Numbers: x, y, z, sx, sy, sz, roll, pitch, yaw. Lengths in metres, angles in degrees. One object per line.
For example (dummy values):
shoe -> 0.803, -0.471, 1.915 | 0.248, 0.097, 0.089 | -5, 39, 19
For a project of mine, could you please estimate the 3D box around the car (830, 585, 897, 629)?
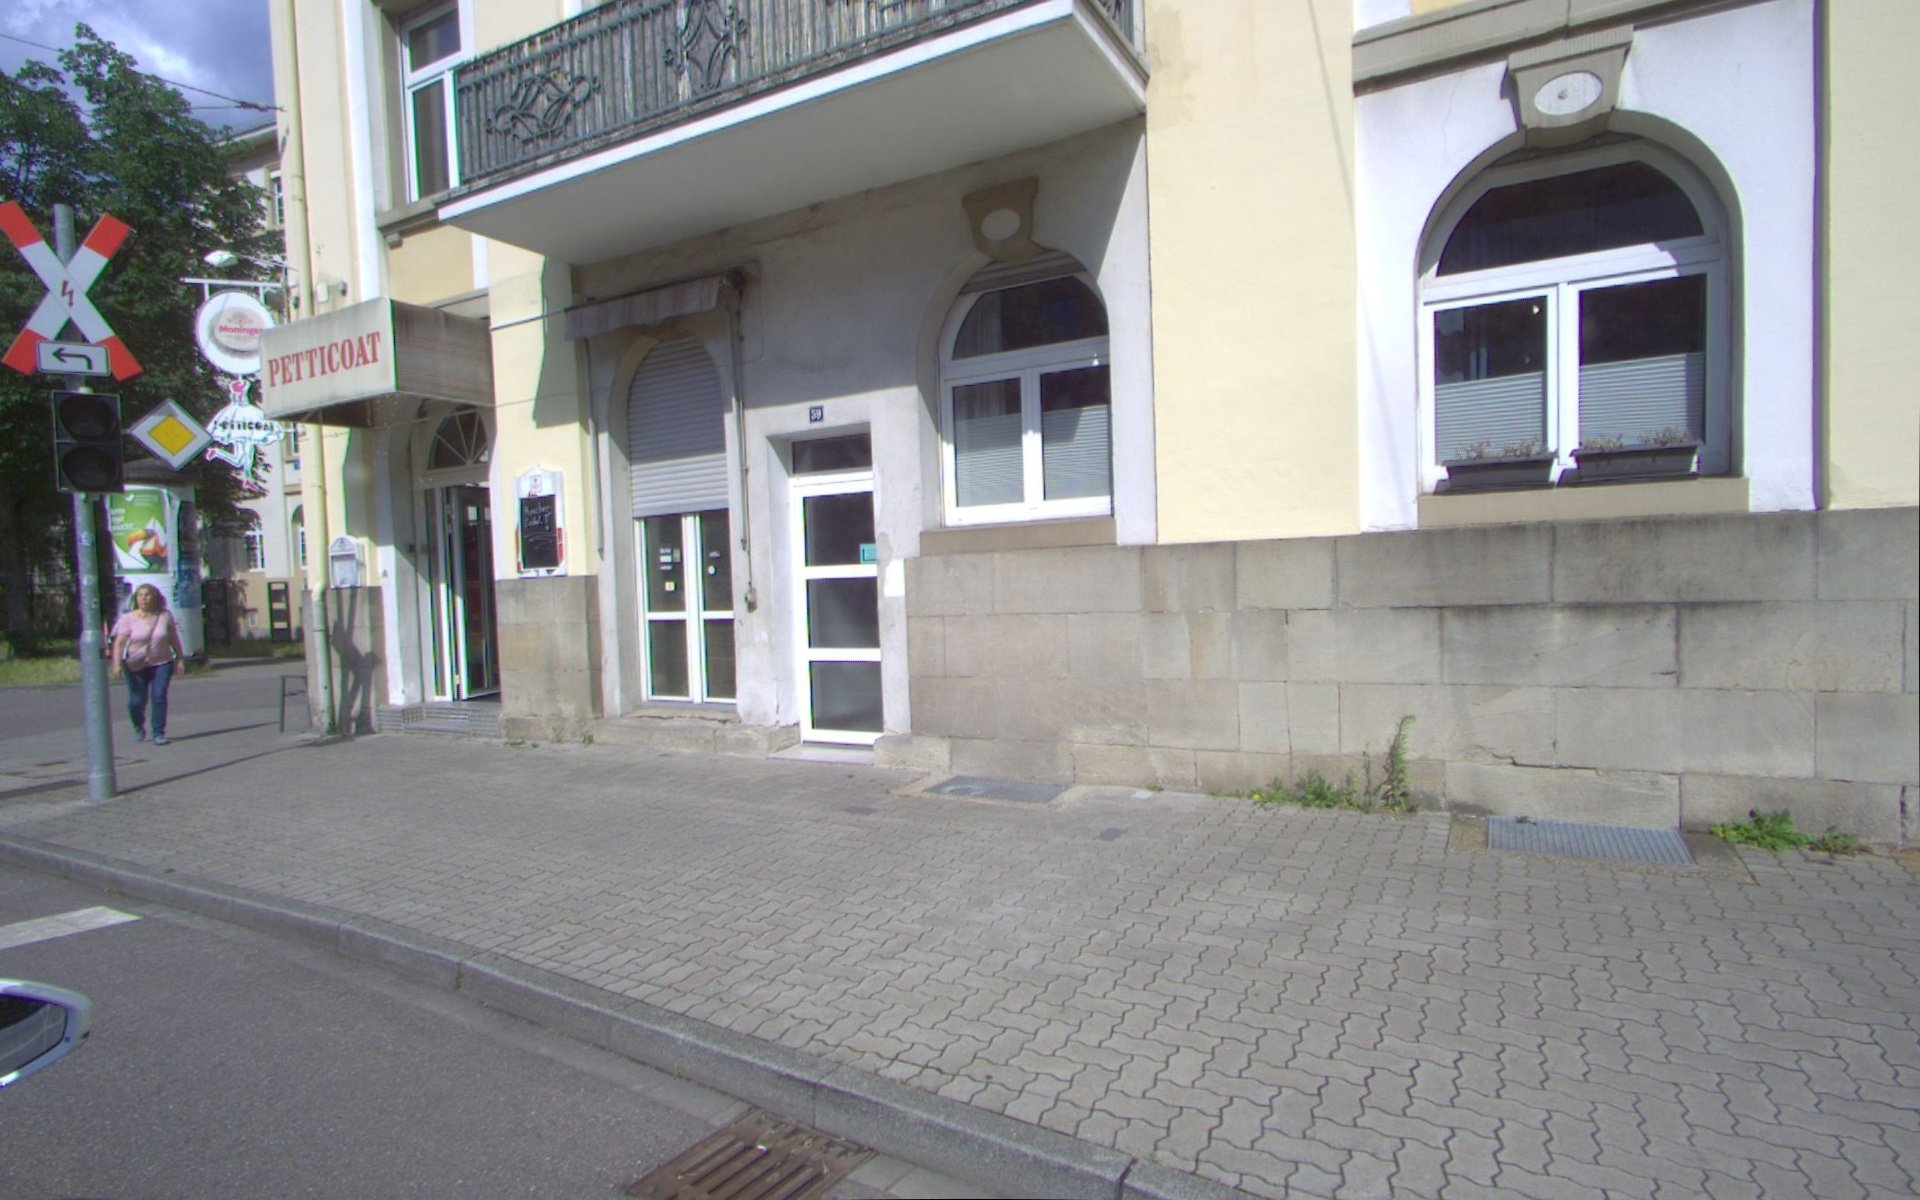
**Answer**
car -> -3.545, 0.218, 36.288 | 1.363, 1.476, 3.253 | -2, 2, -25

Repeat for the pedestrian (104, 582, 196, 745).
pedestrian -> -8.791, 0.665, 10.898 | 0.666, 1.671, 0.757 | -4, 3, -38

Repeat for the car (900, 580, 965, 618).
car -> -1.186, -0.064, 42.127 | 1.568, 1.476, 3.254 | -3, 2, -25

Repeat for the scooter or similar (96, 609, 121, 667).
scooter or similar -> -18.353, 0.810, 21.569 | 0.303, 1.205, 1.151 | -4, 3, -43
